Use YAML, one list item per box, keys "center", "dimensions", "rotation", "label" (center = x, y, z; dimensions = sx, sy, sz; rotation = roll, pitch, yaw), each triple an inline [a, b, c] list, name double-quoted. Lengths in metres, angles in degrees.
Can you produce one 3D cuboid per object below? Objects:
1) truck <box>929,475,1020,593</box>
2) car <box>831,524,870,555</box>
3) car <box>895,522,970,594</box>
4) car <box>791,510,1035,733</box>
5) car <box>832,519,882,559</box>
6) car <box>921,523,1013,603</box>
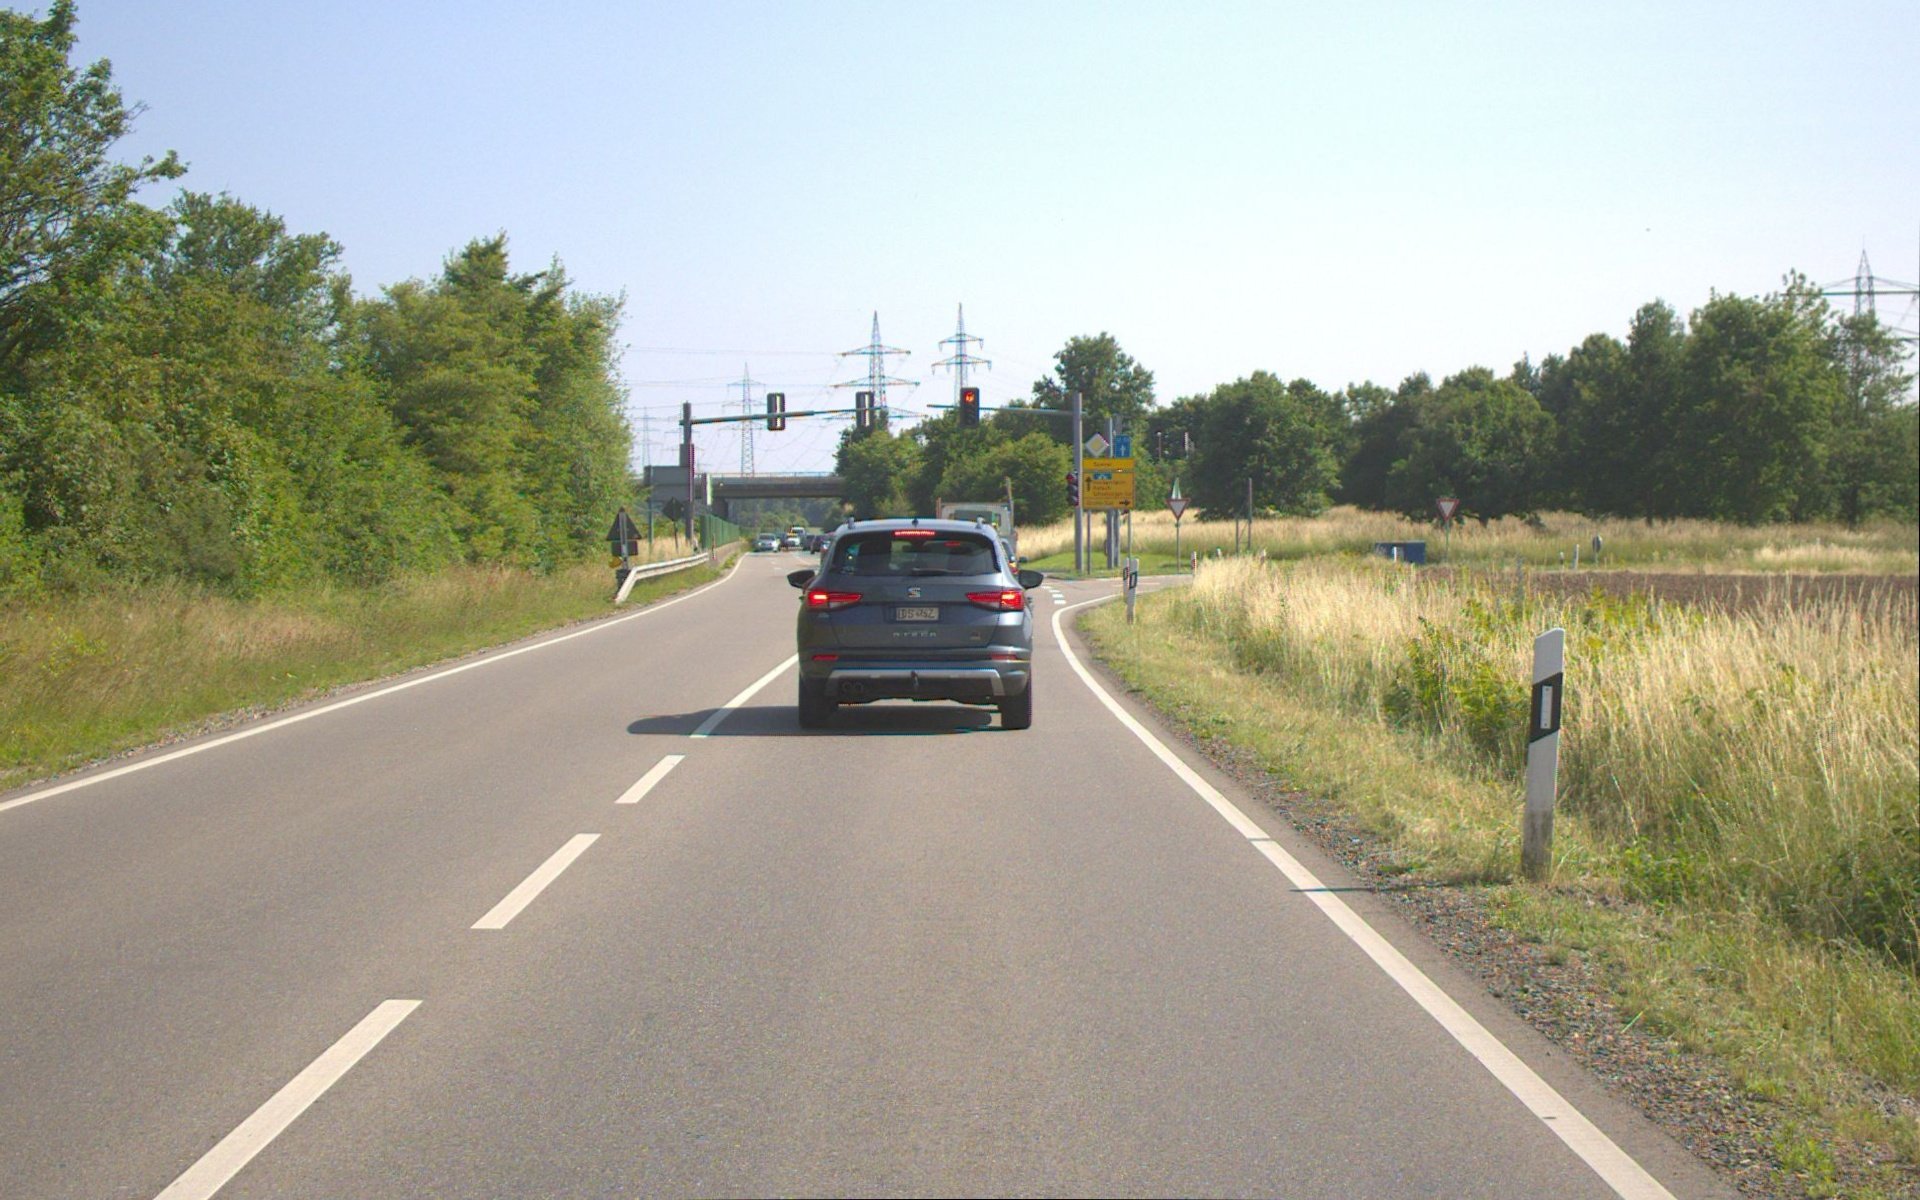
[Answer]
- center: [0.414, -1.752, 92.117]
  dimensions: [2.337, 3.055, 5.809]
  rotation: [0, 1, 1]
  label: "truck"
- center: [-5.047, -2.803, 158.004]
  dimensions: [1.684, 1.375, 3.534]
  rotation: [0, 2, -4]
  label: "car"
- center: [-0.671, -1.043, 83.939]
  dimensions: [1.785, 1.670, 4.000]
  rotation: [0, 2, -1]
  label: "car"
- center: [-0.366, 0.107, 27.282]
  dimensions: [1.785, 1.623, 4.000]
  rotation: [0, 2, -1]
  label: "car"
- center: [-4.140, -2.445, 137.542]
  dimensions: [1.816, 1.535, 4.001]
  rotation: [-1, 1, -4]
  label: "car"
- center: [0.118, -0.774, 69.339]
  dimensions: [1.785, 1.538, 4.000]
  rotation: [0, 2, -1]
  label: "car"
